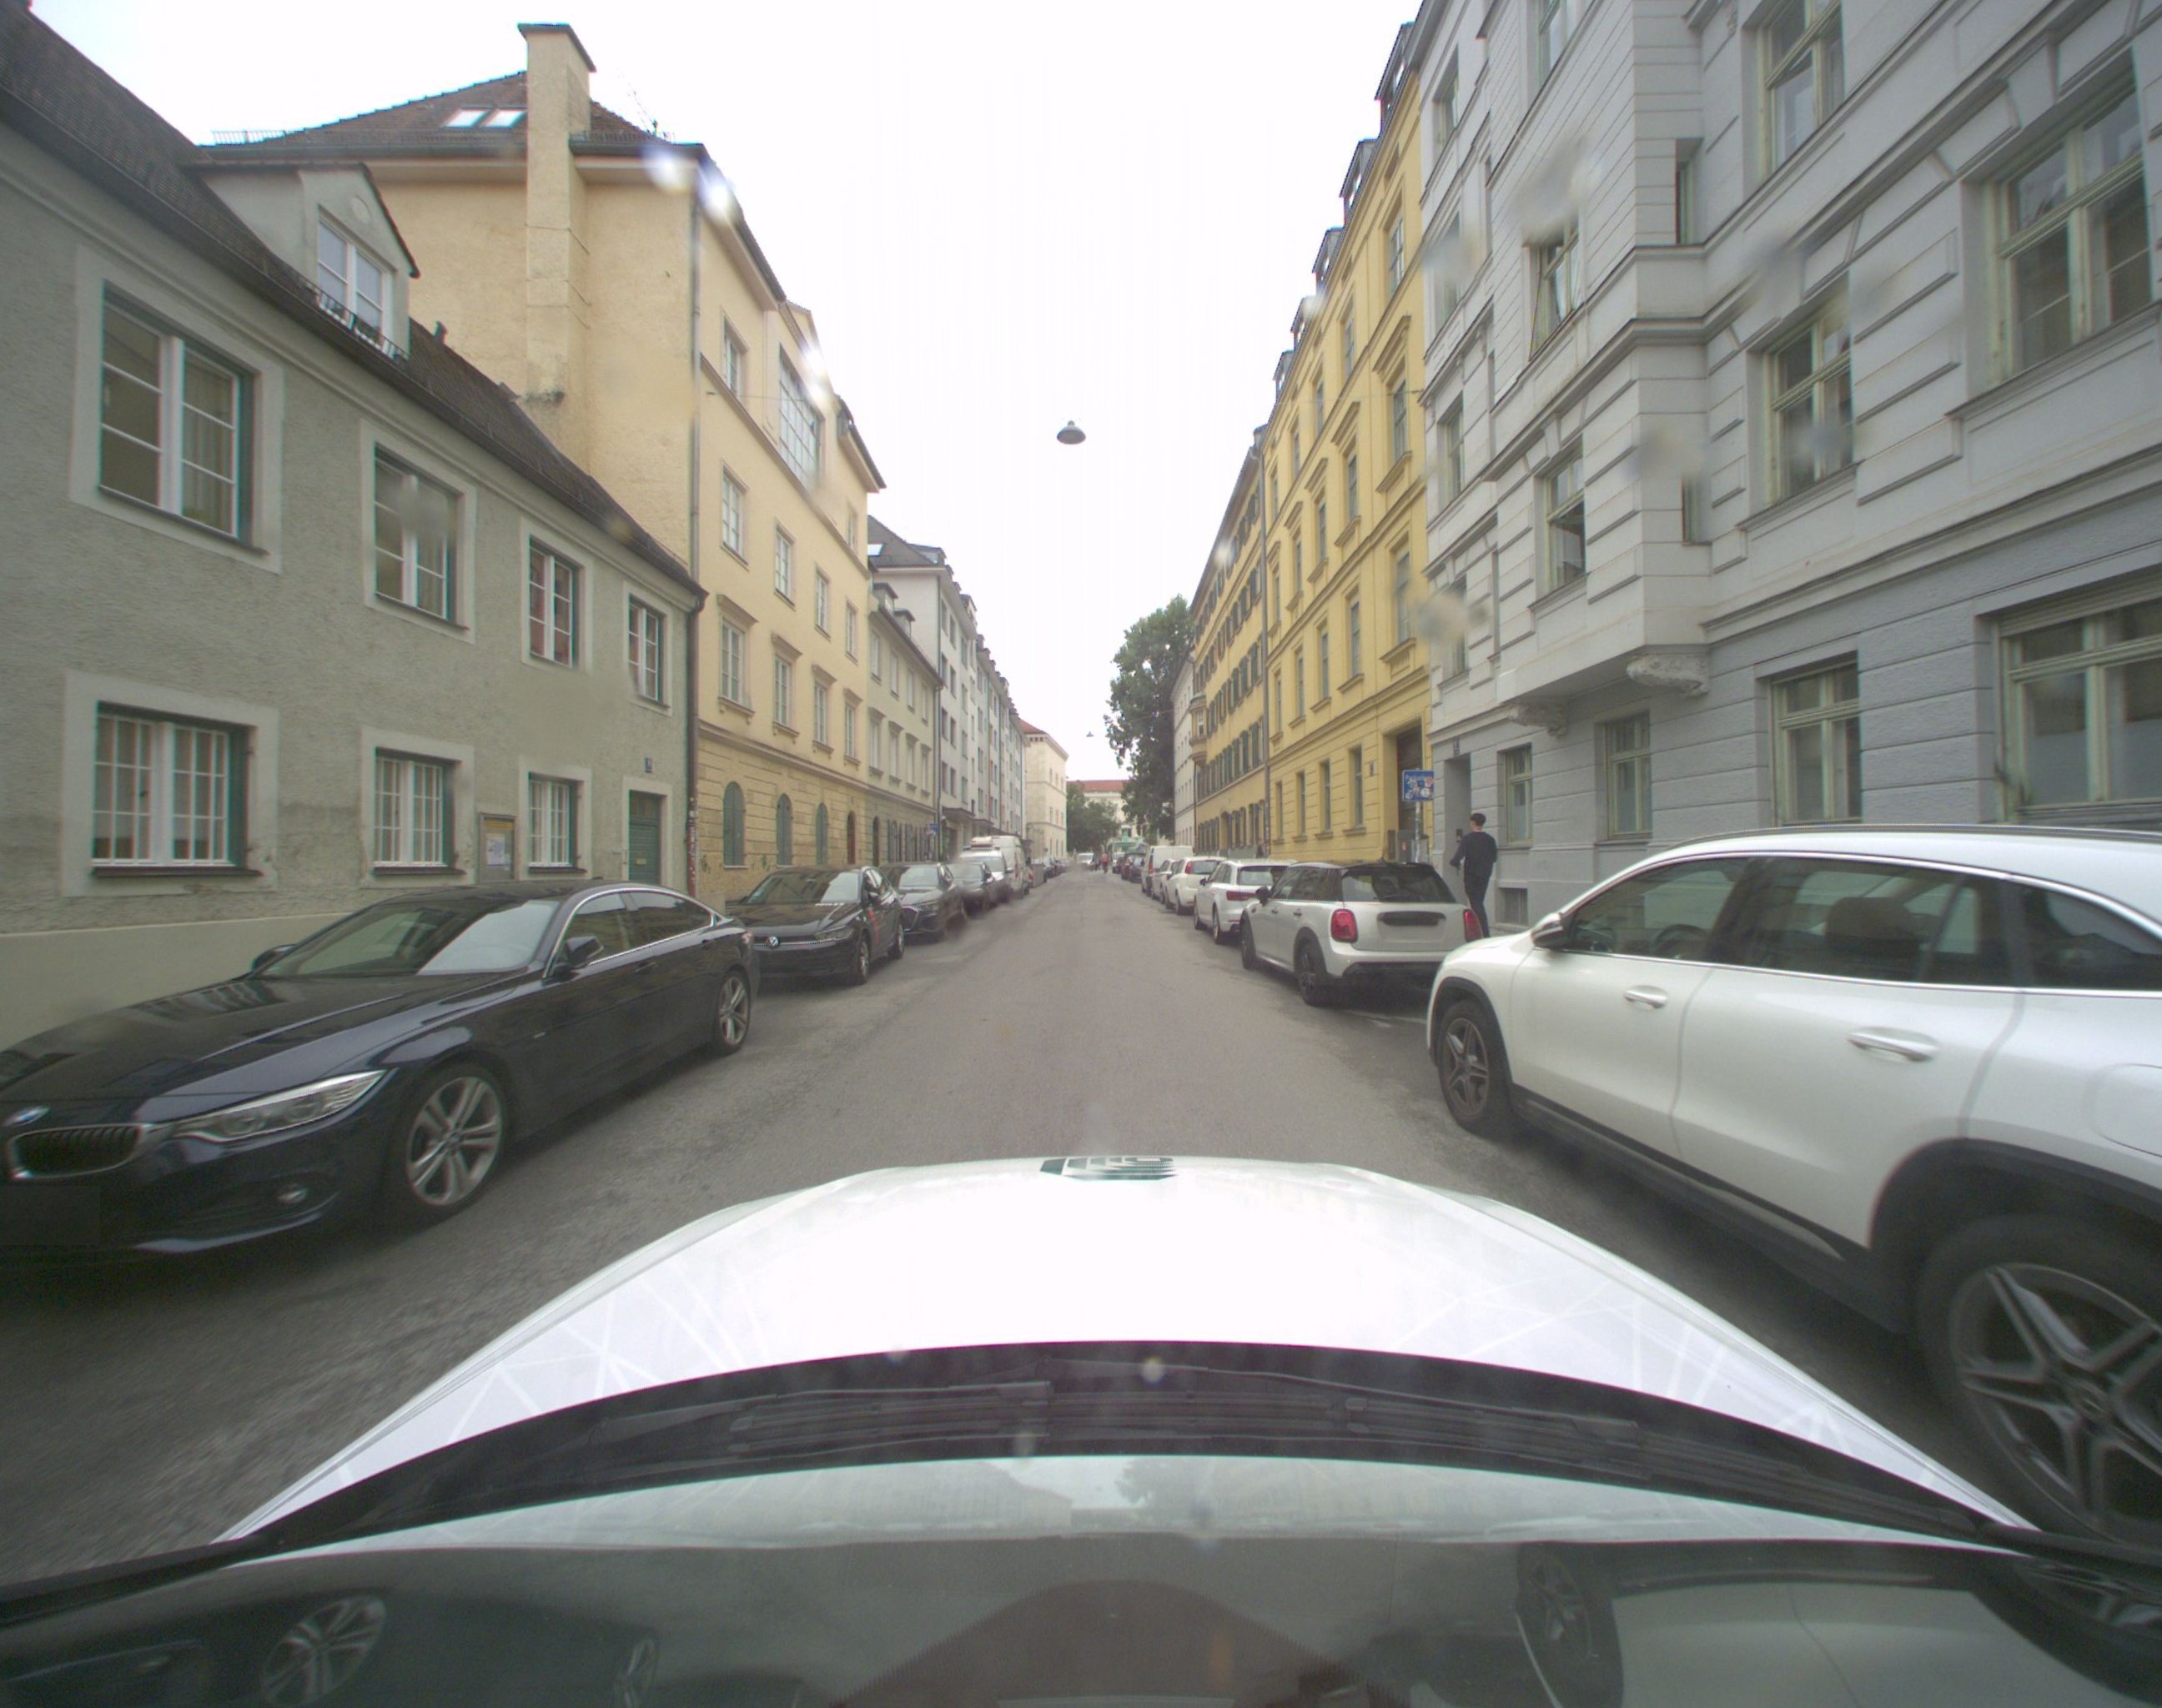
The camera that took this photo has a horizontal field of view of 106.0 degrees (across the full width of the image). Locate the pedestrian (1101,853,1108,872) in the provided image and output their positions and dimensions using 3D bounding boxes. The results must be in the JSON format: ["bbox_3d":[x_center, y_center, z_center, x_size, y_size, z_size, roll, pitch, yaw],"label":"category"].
[{"bbox_3d":[2.049,0.748,71.305,0.640,1.714,0.843,-1,-2,1],"label":"pedestrian"}]

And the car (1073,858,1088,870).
[{"bbox_3d":[-0.064,1.293,107.811,1.699,1.581,3.866,-2,0,3],"label":"car"}]

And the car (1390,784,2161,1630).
[{"bbox_3d":[2.925,0.666,3.285,1.737,1.583,4.467,0,0,1],"label":"car"}]

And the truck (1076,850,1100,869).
[{"bbox_3d":[0.871,0.741,100.505,2.109,2.247,6.199,-1,-1,8],"label":"truck"}]

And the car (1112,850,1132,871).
[{"bbox_3d":[3.912,0.631,78.473,1.845,1.919,4.770,-1,-1,1],"label":"car"}]

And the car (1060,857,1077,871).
[{"bbox_3d":[-1.496,1.224,99.239,1.699,1.581,3.866,-2,0,3],"label":"car"}]

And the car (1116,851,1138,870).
[{"bbox_3d":[4.072,0.617,72.517,1.805,1.614,4.157,-1,-1,1],"label":"car"}]

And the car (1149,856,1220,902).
[{"bbox_3d":[3.286,0.761,26.473,1.703,1.392,4.204,0,0,-1],"label":"car"}]

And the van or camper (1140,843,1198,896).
[{"bbox_3d":[3.333,0.562,31.790,1.827,1.872,5.080,0,0,1],"label":"van or camper"}]

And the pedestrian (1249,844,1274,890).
[{"bbox_3d":[6.503,0.470,29.310,0.658,1.571,0.642,-4,-2,0],"label":"pedestrian"}]

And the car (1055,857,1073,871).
[{"bbox_3d":[-1.941,1.139,93.183,1.699,1.609,3.866,-2,-1,3],"label":"car"}]

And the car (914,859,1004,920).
[{"bbox_3d":[-3.054,0.838,21.139,1.749,1.409,4.102,0,0,0],"label":"car"}]

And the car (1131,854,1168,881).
[{"bbox_3d":[3.839,0.774,46.520,1.805,1.465,4.247,1,-1,1],"label":"car"}]

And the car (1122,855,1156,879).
[{"bbox_3d":[3.643,0.828,51.611,1.806,1.425,4.245,1,-1,-1],"label":"car"}]

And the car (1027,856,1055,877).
[{"bbox_3d":[-2.944,0.929,59.876,1.812,1.444,3.818,-2,0,0],"label":"car"}]

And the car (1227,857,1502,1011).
[{"bbox_3d":[3.004,0.754,9.626,1.703,1.404,4.205,0,0,-1],"label":"car"}]

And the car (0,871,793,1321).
[{"bbox_3d":[-3.512,0.847,5.010,1.792,1.339,4.685,0,0,0],"label":"car"}]

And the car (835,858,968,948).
[{"bbox_3d":[-3.332,0.849,15.921,1.812,1.441,4.127,-2,0,-3],"label":"car"}]

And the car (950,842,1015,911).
[{"bbox_3d":[-3.078,0.673,26.118,1.751,1.995,4.620,0,0,-3],"label":"car"}]

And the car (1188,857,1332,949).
[{"bbox_3d":[3.097,0.774,15.043,1.702,1.408,4.815,0,0,1],"label":"car"}]

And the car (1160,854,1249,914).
[{"bbox_3d":[3.213,0.746,21.874,1.703,1.454,4.094,0,0,-1],"label":"car"}]

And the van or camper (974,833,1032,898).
[{"bbox_3d":[-2.919,0.418,31.504,1.749,2.281,5.272,0,0,0],"label":"van or camper"}]

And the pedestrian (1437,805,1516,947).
[{"bbox_3d":[5.772,0.323,11.930,0.667,1.980,0.709,-4,-2,1],"label":"pedestrian"}]

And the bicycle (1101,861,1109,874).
[{"bbox_3d":[2.059,1.172,71.233,0.673,1.095,1.760,-1,-2,2],"label":"bicycle"}]

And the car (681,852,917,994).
[{"bbox_3d":[-3.410,0.743,10.743,1.750,1.496,4.197,0,0,-2],"label":"car"}]

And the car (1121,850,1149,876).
[{"bbox_3d":[3.855,0.660,58.602,1.805,1.797,4.248,0,-1,1],"label":"car"}]

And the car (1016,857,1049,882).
[{"bbox_3d":[-2.996,0.916,49.805,1.760,1.410,4.146,-2,0,-6],"label":"car"}]

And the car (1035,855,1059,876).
[{"bbox_3d":[-2.693,0.909,65.633,1.701,1.609,3.862,-2,-1,0],"label":"car"}]
